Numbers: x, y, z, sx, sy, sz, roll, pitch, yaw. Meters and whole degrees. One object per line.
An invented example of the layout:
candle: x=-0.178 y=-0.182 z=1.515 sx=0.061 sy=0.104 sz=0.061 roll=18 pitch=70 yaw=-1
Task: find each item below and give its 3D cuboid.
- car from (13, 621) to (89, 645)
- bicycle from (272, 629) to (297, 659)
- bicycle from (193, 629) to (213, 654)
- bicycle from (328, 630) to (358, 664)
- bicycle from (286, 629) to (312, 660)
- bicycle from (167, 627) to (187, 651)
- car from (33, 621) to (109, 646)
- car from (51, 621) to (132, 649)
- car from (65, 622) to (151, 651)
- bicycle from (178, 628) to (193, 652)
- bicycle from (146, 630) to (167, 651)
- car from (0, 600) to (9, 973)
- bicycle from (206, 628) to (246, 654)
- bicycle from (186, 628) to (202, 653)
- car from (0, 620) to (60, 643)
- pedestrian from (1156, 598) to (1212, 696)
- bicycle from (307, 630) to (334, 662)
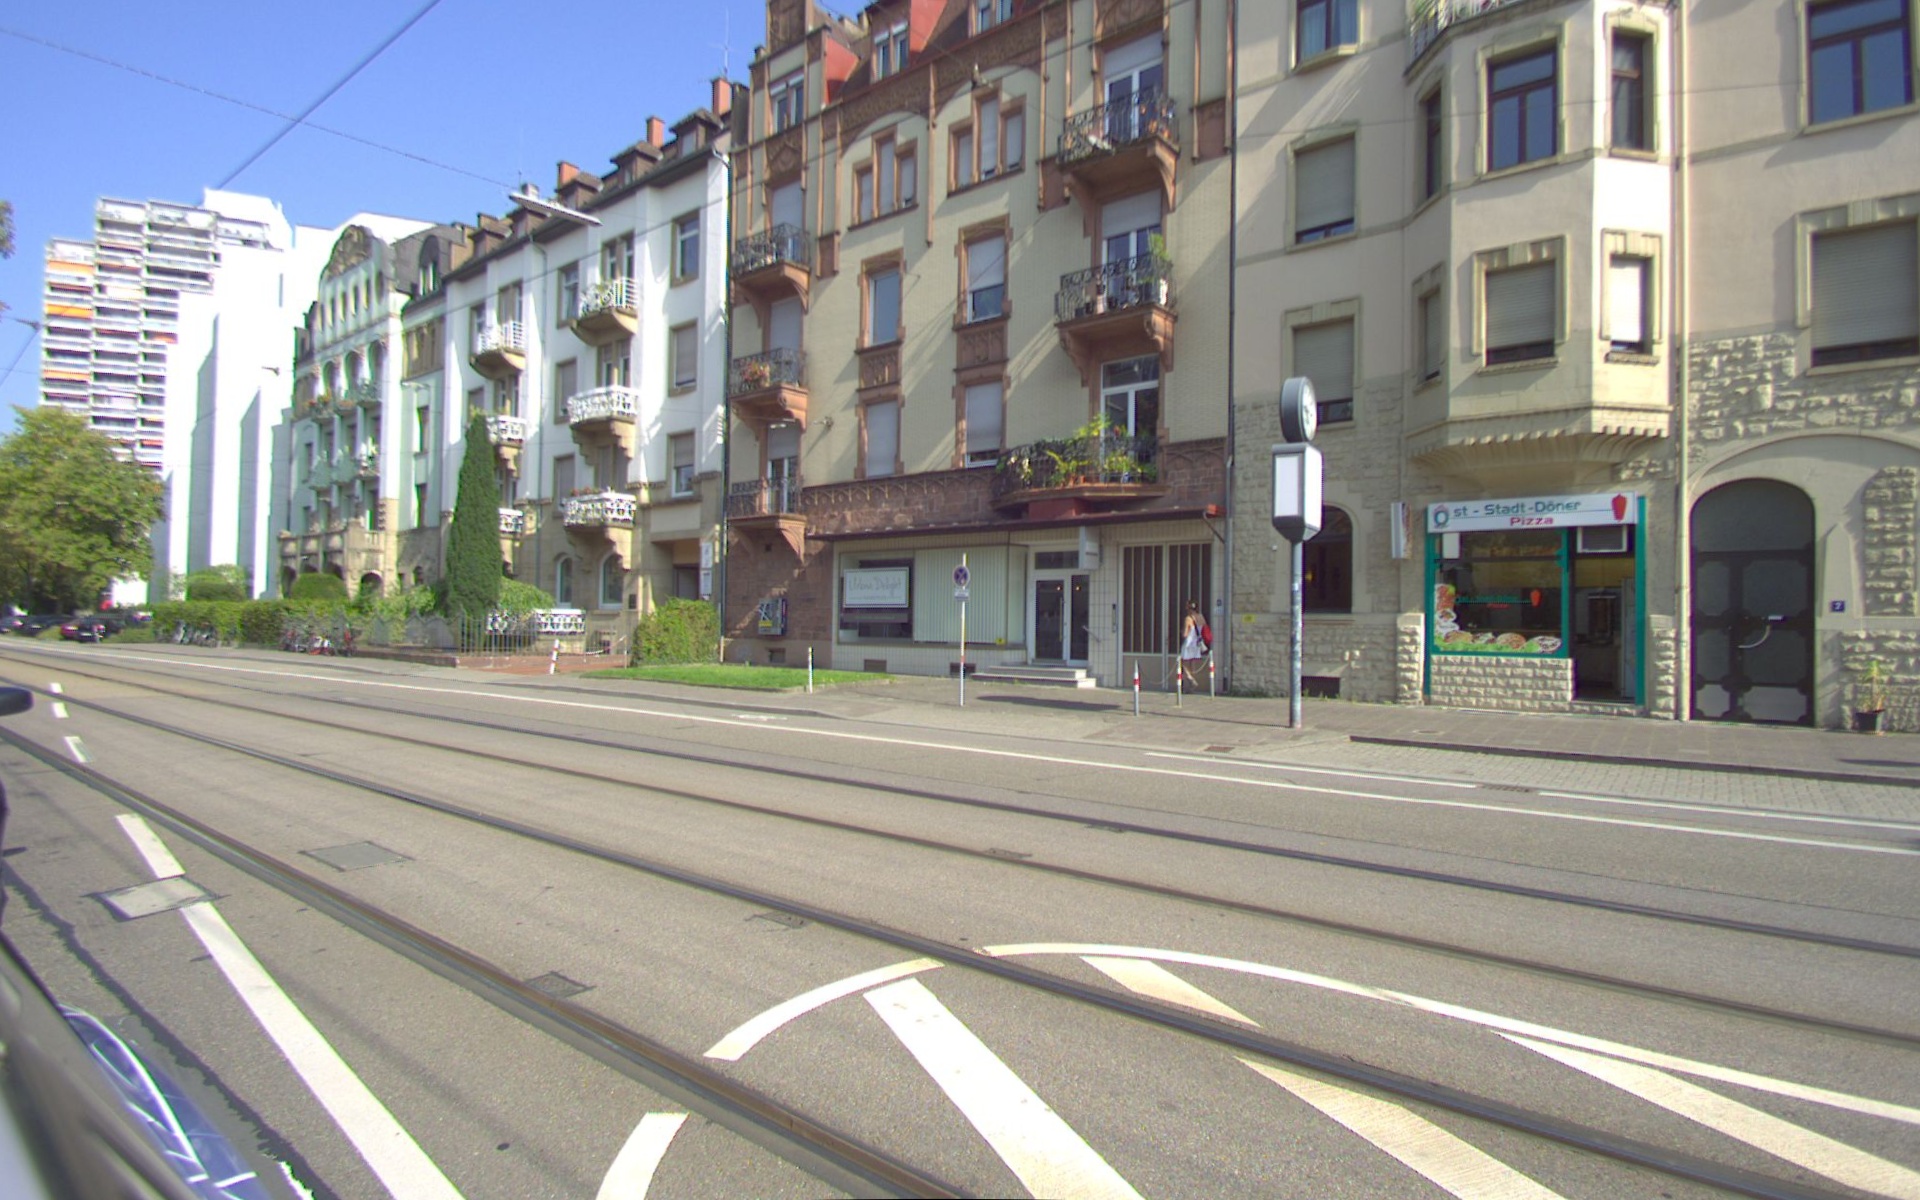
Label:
car: x=-59.234 y=2.159 z=66.055 sx=1.744 sy=1.539 sz=4.007 roll=1 pitch=-2 yaw=-9
bicycle: x=-25.377 y=1.645 z=38.025 sx=1.354 sy=1.096 sz=0.366 roll=-1 pitch=-3 yaw=40
bicycle: x=-33.155 y=1.805 z=44.320 sx=1.677 sy=1.096 sz=0.419 roll=-1 pitch=-3 yaw=44
bicycle: x=-20.658 y=1.560 z=33.848 sx=1.486 sy=1.096 sz=0.366 roll=-1 pitch=-3 yaw=40
bicycle: x=-24.060 y=1.610 z=36.842 sx=1.354 sy=1.096 sz=0.366 roll=-1 pitch=-3 yaw=40
bicycle: x=-36.823 y=1.844 z=47.593 sx=1.676 sy=1.096 sz=0.420 roll=-1 pitch=-3 yaw=43
car: x=-56.701 y=2.167 z=64.642 sx=1.744 sy=1.539 sz=4.007 roll=1 pitch=-2 yaw=-9
car: x=-51.135 y=2.055 z=59.668 sx=1.744 sy=1.539 sz=4.007 roll=1 pitch=-2 yaw=-9
car: x=-46.305 y=1.991 z=55.114 sx=1.744 sy=1.539 sz=4.007 roll=1 pitch=-2 yaw=-9
bicycle: x=-35.369 y=1.817 z=46.200 sx=0.419 sy=1.096 sz=1.679 roll=3 pitch=-3 yaw=-41
bicycle: x=-39.438 y=1.980 z=49.654 sx=1.768 sy=0.985 sz=0.420 roll=-1 pitch=-3 yaw=39
car: x=-6.112 y=0.785 z=4.984 sx=4.354 sy=1.535 sz=1.590 roll=-1 pitch=-1 yaw=40
bicycle: x=-31.998 y=1.781 z=44.142 sx=0.423 sy=1.096 sz=1.385 roll=0 pitch=-2 yaw=22
bicycle: x=-34.657 y=1.823 z=45.791 sx=0.419 sy=1.096 sz=1.679 roll=3 pitch=-3 yaw=-41
car: x=-66.127 y=2.234 z=71.597 sx=1.744 sy=1.539 sz=4.007 roll=1 pitch=-2 yaw=-9
pedestrian: x=4.429 y=0.919 z=20.035 sx=0.829 sy=1.874 sz=0.766 roll=-1 pitch=-2 yaw=38
bicycle: x=-22.065 y=1.573 z=34.929 sx=1.354 sy=1.096 sz=0.366 roll=-1 pitch=-3 yaw=40
